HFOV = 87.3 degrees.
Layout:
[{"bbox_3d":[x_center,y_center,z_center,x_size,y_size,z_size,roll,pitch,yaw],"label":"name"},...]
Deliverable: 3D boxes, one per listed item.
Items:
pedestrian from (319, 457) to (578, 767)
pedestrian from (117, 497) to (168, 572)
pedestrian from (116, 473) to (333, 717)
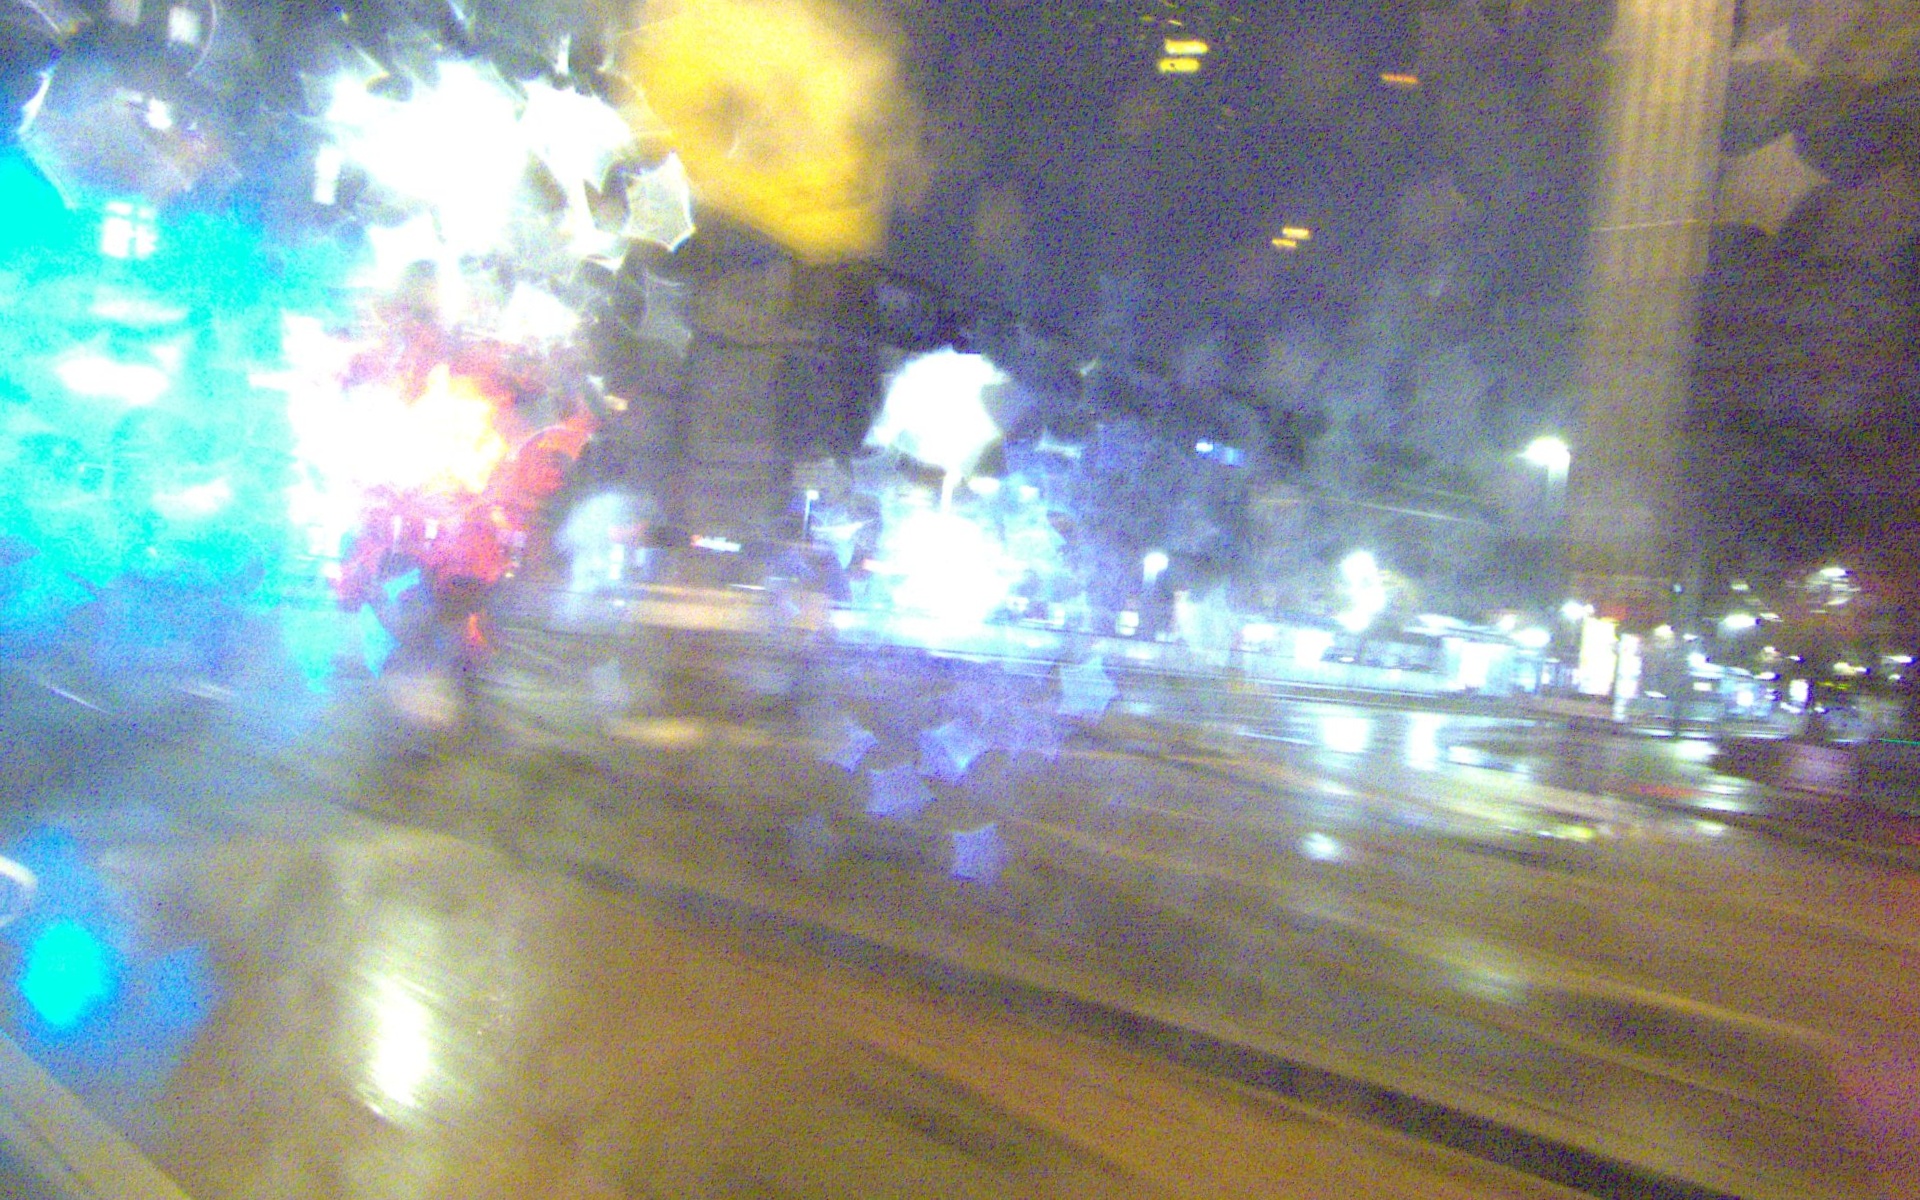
[{"bbox_3d":[-3.377,0.083,6.697,0.837,1.848,1.108,7,0,34],"label":"pedestrian"},{"bbox_3d":[-24.341,-1.951,29.968,0.968,2.040,1.005,6,3,-36],"label":"pedestrian"},{"bbox_3d":[-6.067,-0.020,8.325,0.838,1.848,1.107,7,0,37],"label":"pedestrian"}]
